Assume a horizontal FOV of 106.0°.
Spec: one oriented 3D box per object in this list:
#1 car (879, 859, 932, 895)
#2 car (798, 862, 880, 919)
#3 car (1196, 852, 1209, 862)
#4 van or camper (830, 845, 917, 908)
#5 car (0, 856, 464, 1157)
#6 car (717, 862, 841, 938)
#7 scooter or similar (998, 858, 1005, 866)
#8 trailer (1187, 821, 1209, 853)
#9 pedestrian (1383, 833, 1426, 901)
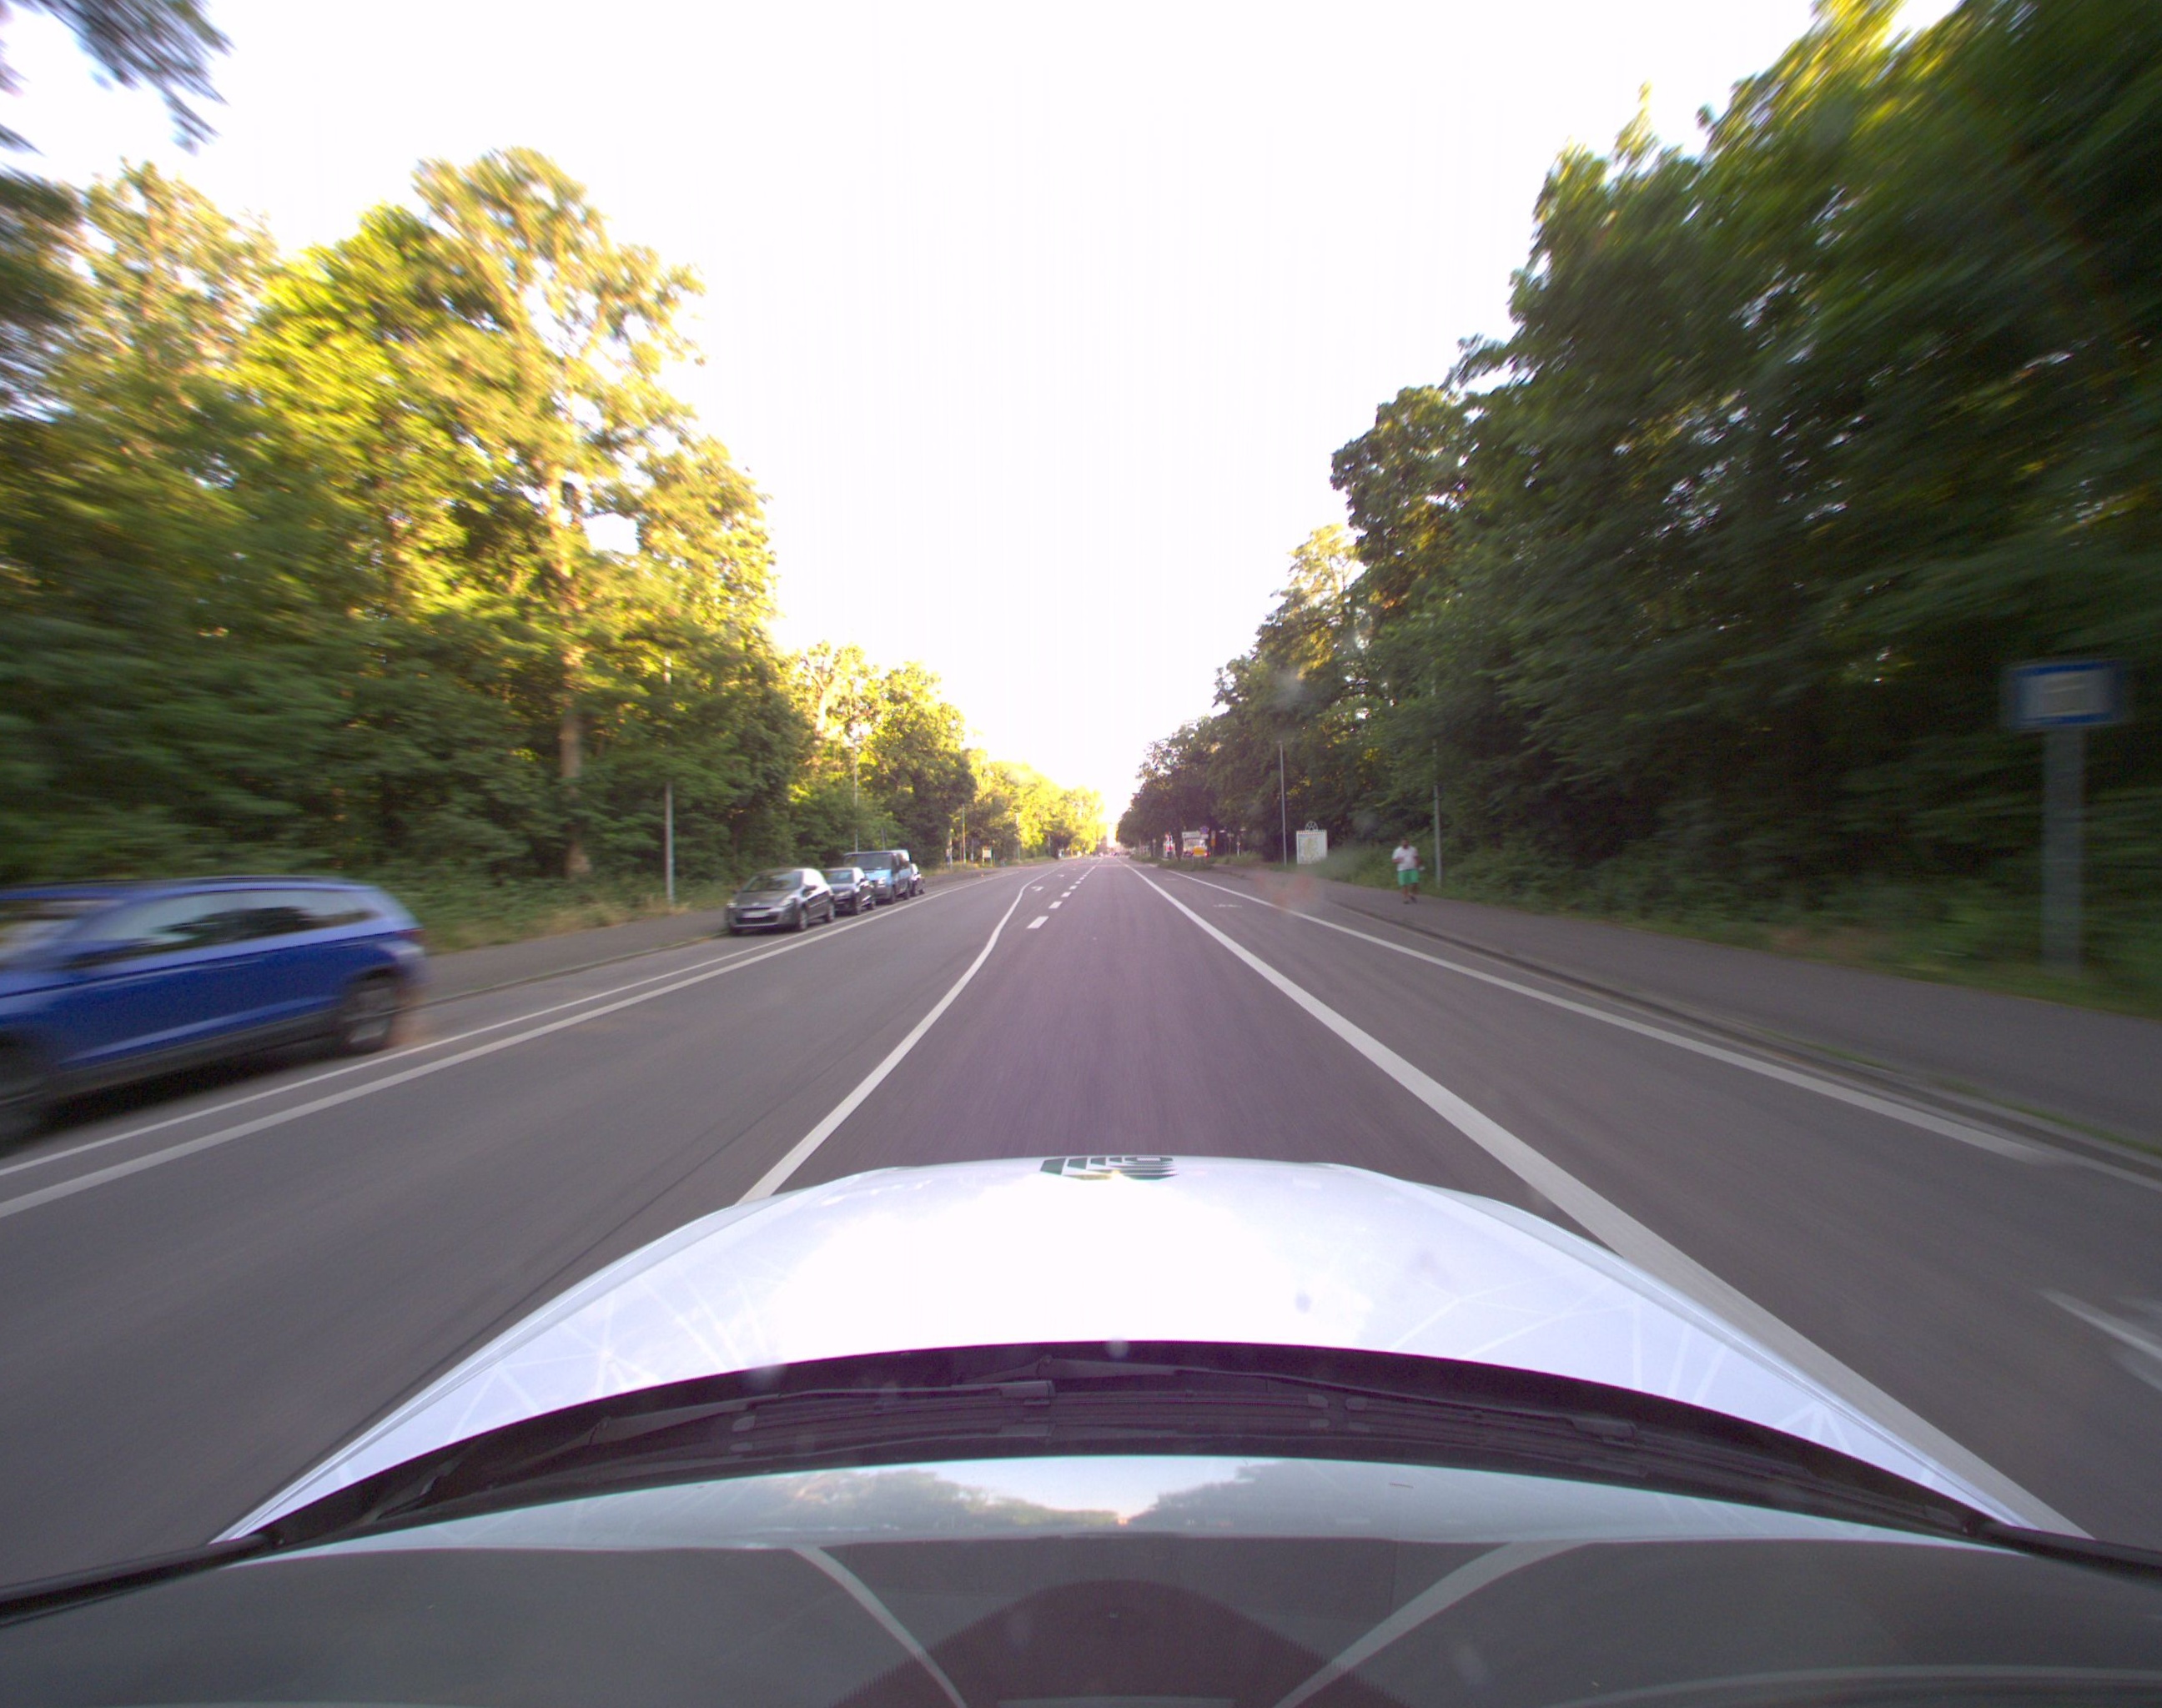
[{"bbox_3d":[-7.965,0.998,37.336,1.683,1.462,4.238,-3,0,-4],"label":"car"},{"bbox_3d":[-7.326,1.052,25.016,1.540,1.493,3.966,-3,0,-4],"label":"car"},{"bbox_3d":[19.580,0.489,131.494,1.761,1.583,4.826,0,0,6],"label":"car"},{"bbox_3d":[-7.744,0.791,30.919,2.026,2.094,5.010,-3,0,-2],"label":"van or camper"},{"bbox_3d":[-7.097,0.925,5.877,1.739,1.712,4.522,-3,0,0],"label":"car"},{"bbox_3d":[-7.194,1.017,19.806,1.613,1.534,4.035,-3,0,-3],"label":"car"},{"bbox_3d":[-10.745,1.049,110.258,0.357,1.110,0.885,-2,0,44],"label":"scooter or similar"},{"bbox_3d":[20.694,-2.987,144.135,3.008,5.462,7.940,-1,0,3],"label":"trailer"},{"bbox_3d":[8.589,0.348,21.624,0.835,1.751,0.726,-1,0,2],"label":"pedestrian"}]
